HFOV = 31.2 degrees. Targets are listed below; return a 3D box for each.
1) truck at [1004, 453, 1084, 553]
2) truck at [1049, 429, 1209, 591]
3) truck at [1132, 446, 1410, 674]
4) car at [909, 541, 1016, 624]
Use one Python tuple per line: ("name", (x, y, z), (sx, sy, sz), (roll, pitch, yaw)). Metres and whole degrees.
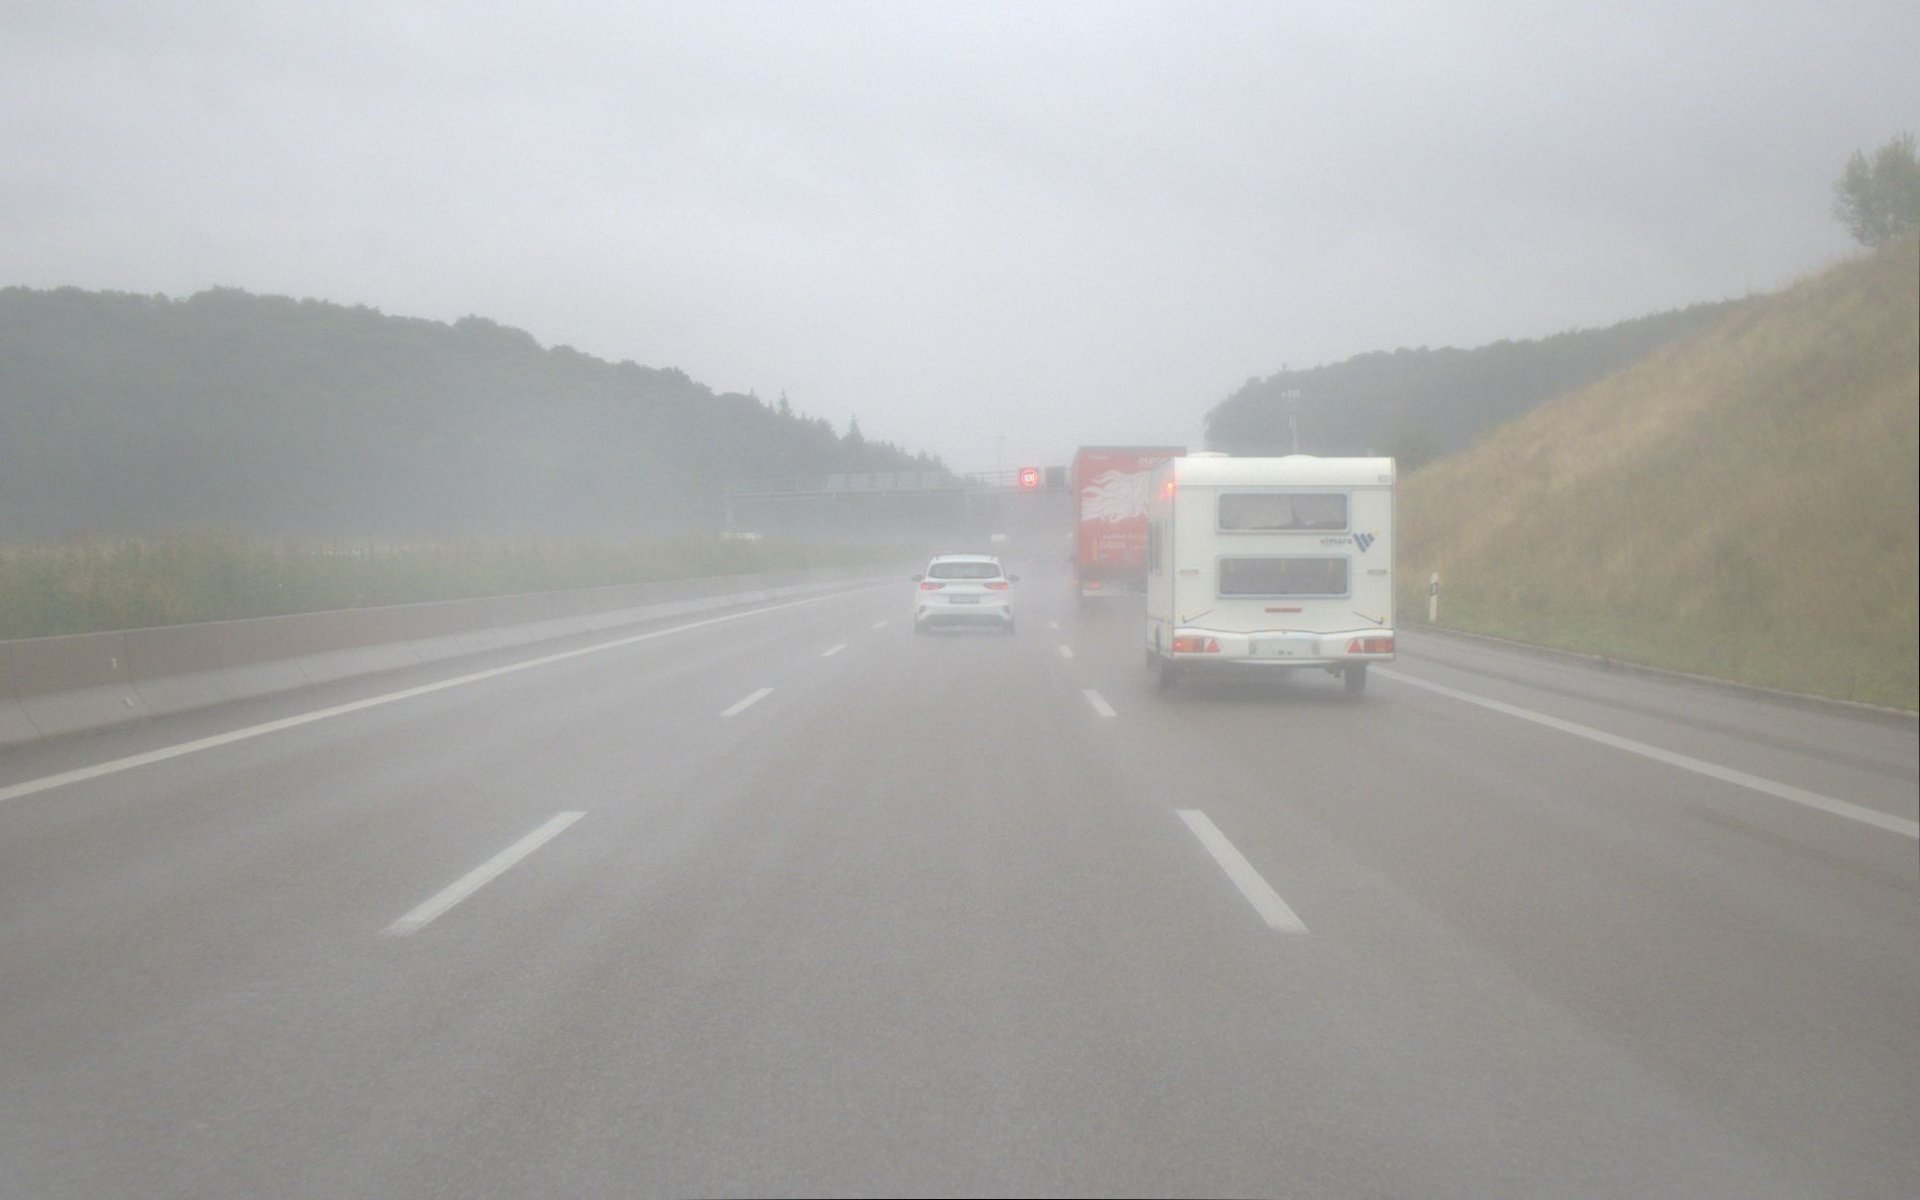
("truck", (6.015, -6.840, 245.806), (5.414, 6.815, 19.455), (0, 1, 2))
("truck", (4.100, -2.252, 86.217), (3.527, 3.730, 11.426), (1, 1, 1))
("truck", (3.206, -0.422, 36.472), (2.407, 2.244, 4.693), (0, 1, -1))
("car", (0.011, -0.308, 62.842), (1.867, 1.458, 4.000), (0, 0, -1))
